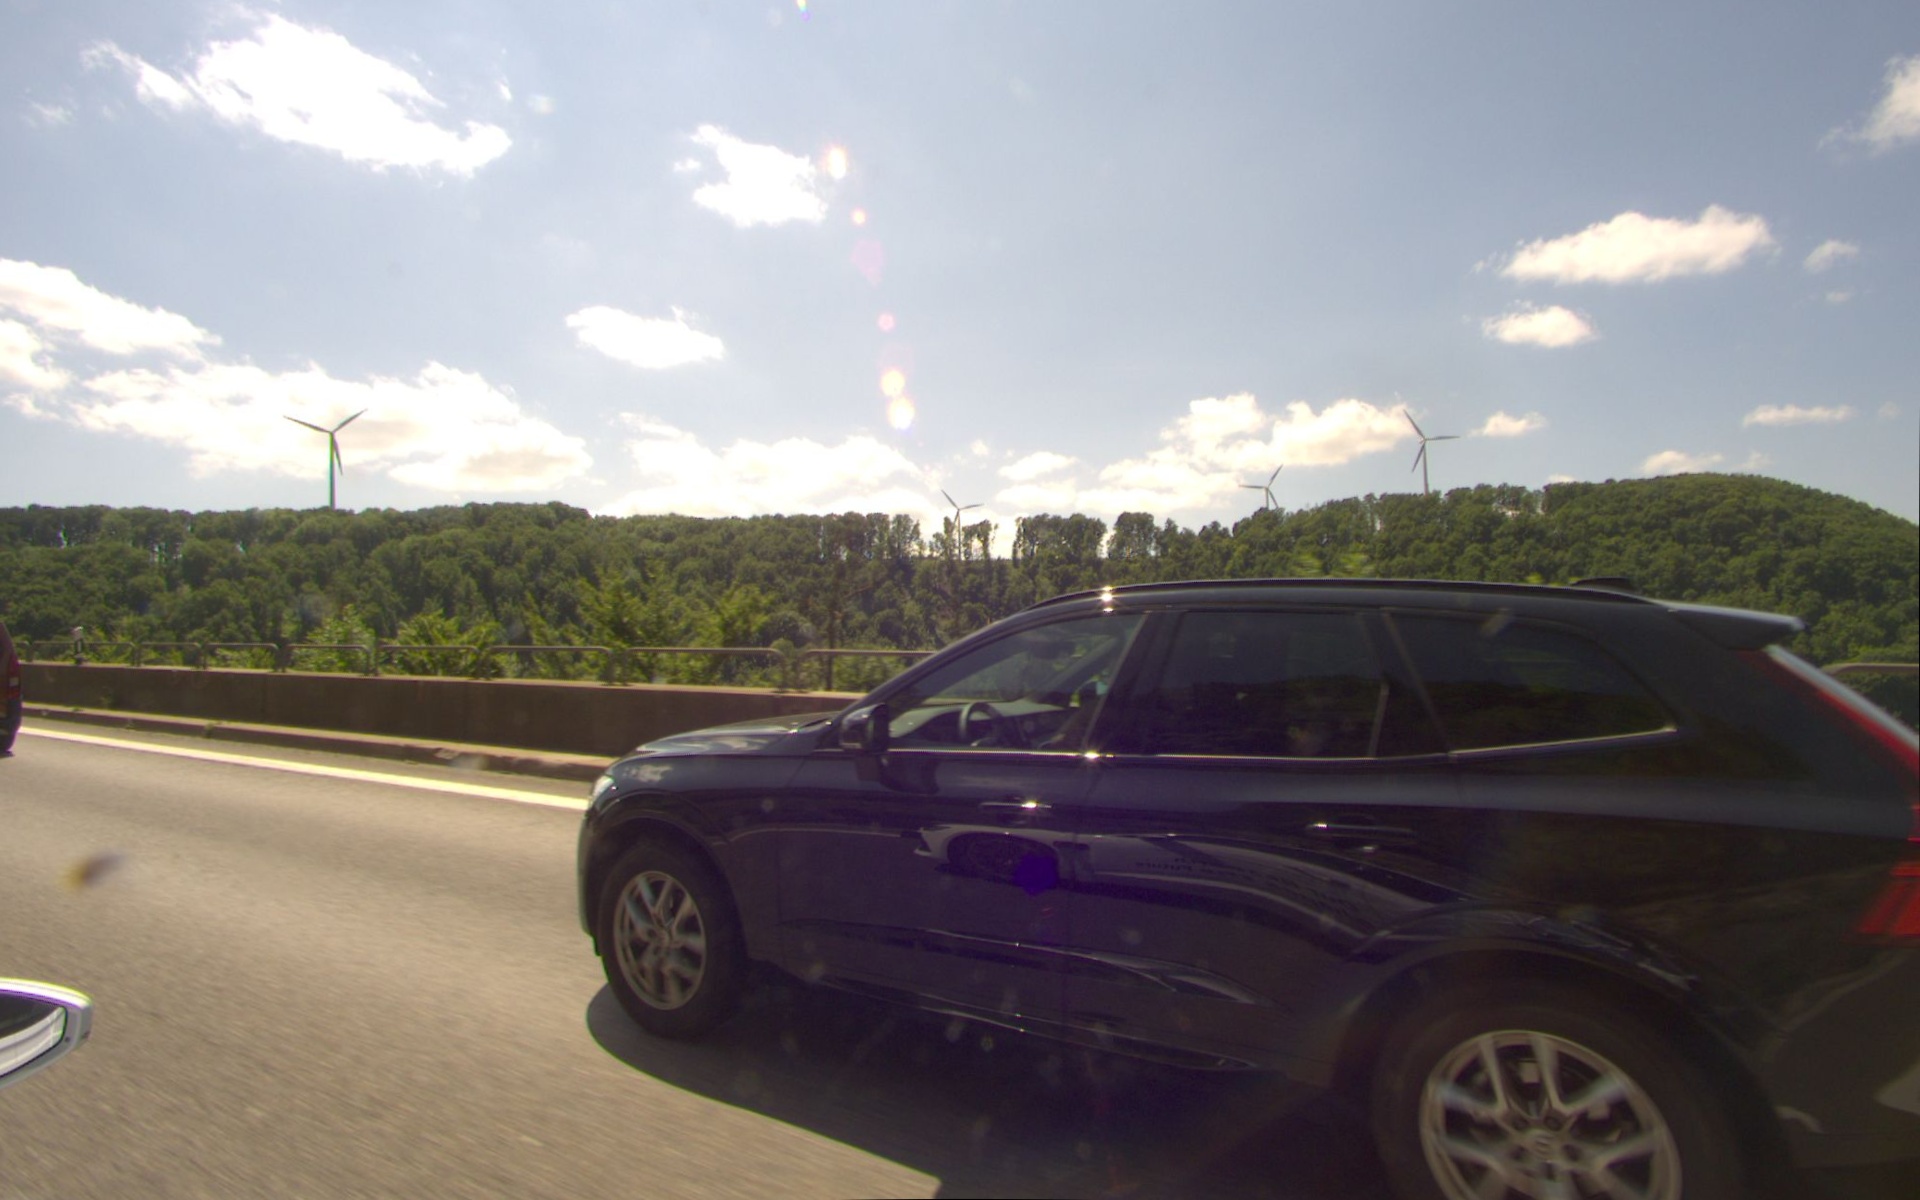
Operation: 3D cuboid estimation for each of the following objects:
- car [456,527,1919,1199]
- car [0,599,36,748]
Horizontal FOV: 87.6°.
[{"bbox_3d":[0.372,0.766,3.711,4.594,1.654,1.833,-1,-3,31],"label":"car"},{"bbox_3d":[-13.931,0.944,12.901,4.609,1.807,1.830,-2,-1,32],"label":"car"}]
